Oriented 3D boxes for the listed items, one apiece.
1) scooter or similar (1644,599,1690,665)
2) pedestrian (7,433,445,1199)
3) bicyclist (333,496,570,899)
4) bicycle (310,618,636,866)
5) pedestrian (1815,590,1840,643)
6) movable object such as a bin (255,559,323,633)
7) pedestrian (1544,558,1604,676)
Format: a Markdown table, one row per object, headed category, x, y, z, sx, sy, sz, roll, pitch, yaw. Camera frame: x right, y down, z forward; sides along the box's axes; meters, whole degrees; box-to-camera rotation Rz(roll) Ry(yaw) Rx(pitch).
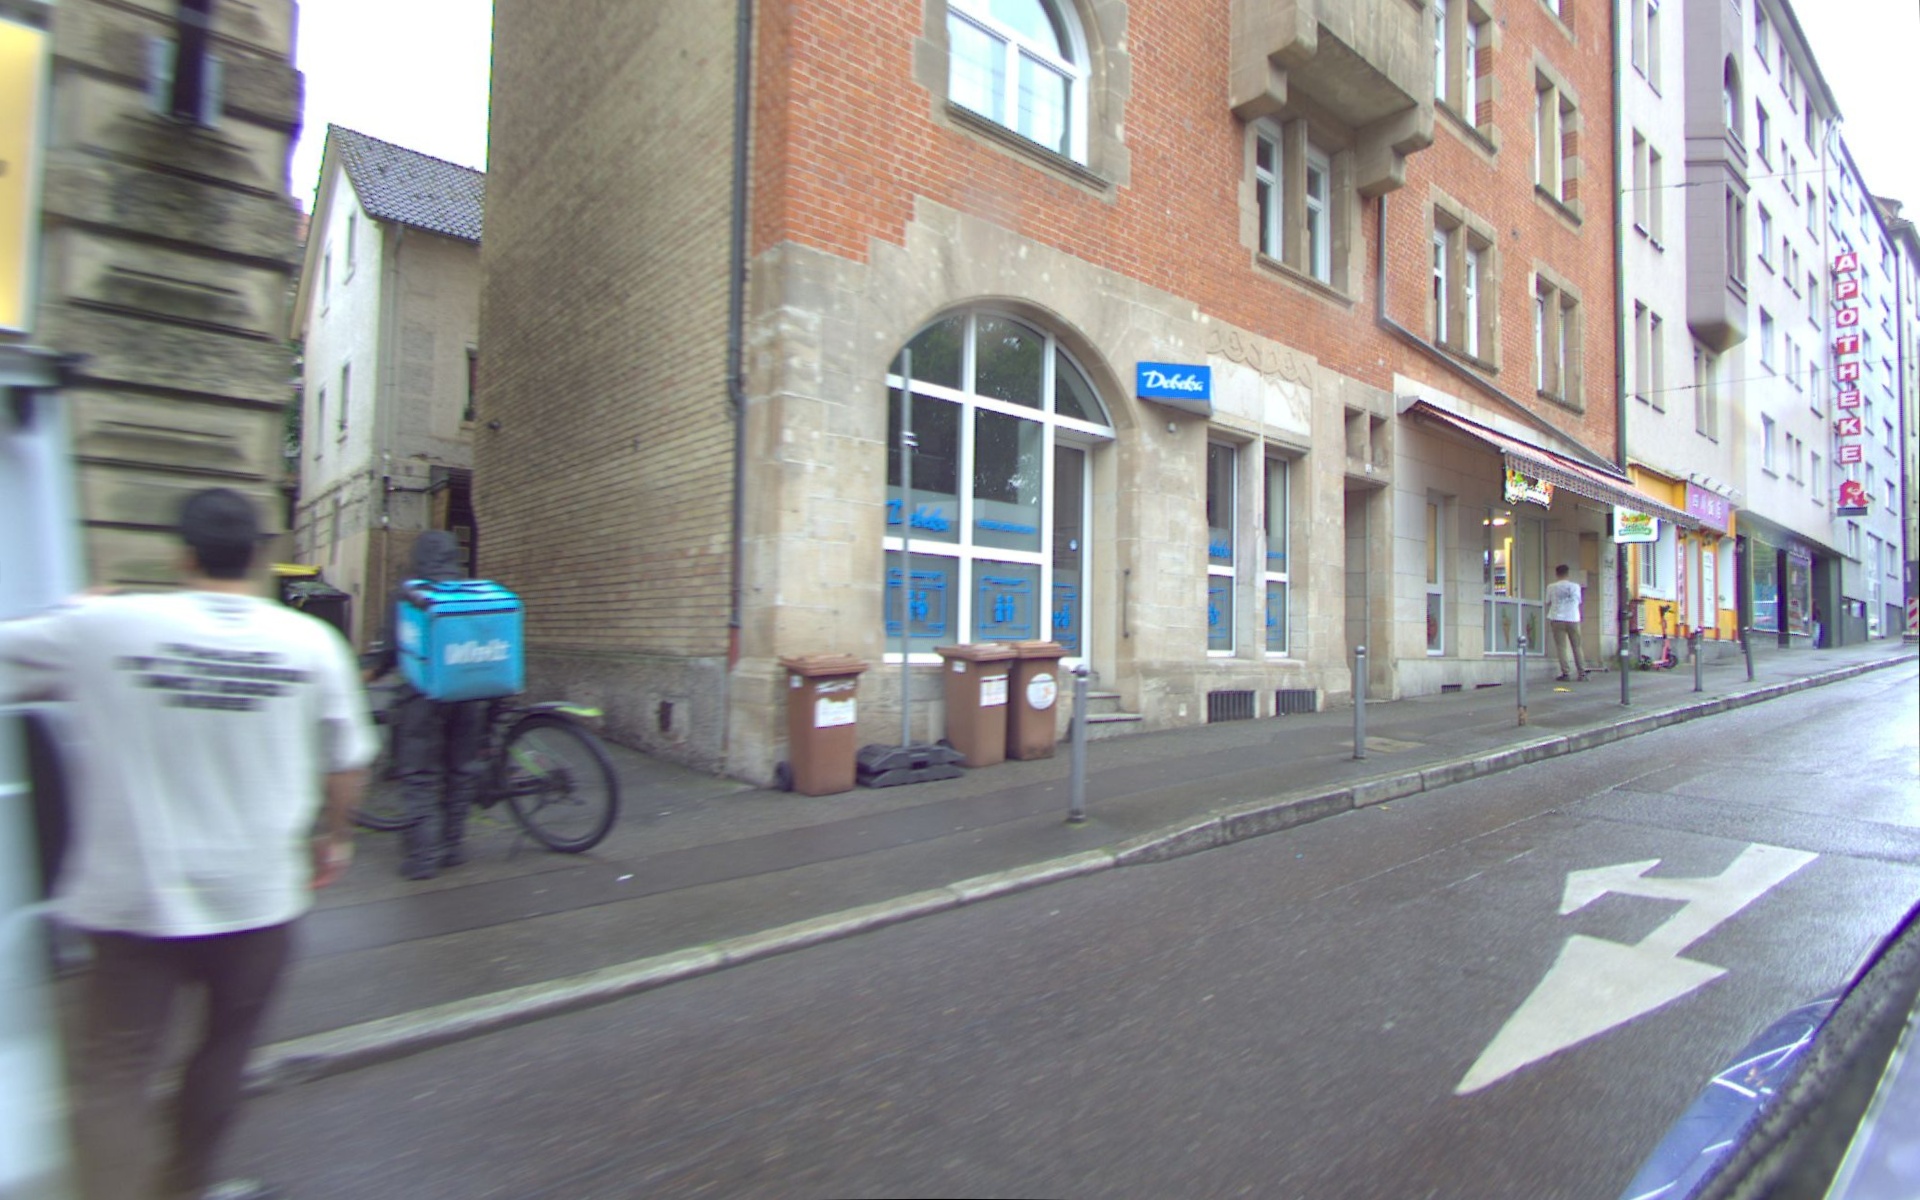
| category | x | y | z | sx | sy | sz | roll | pitch | yaw |
| --- | --- | --- | --- | --- | --- | --- | --- | --- | --- |
| scooter or similar | 13.601 | 0.613 | 19.462 | 1.171 | 1.238 | 0.258 | 1 | -2 | -31 |
| pedestrian | -1.734 | 0.578 | 2.384 | 0.833 | 1.776 | 0.676 | 0 | 0 | 42 |
| bicyclist | -2.349 | 0.398 | 4.691 | 0.842 | 1.678 | 0.625 | 0 | 0 | 29 |
| bicycle | -2.520 | 0.673 | 5.223 | 1.666 | 1.129 | 0.462 | 0 | 0 | 18 |
| pedestrian | 27.736 | 0.526 | 32.348 | 0.477 | 1.666 | 0.328 | -2 | -2 | 25 |
| movable object such as a bin | -13.313 | -0.068 | 20.087 | 1.089 | 1.388 | 1.492 | 0 | -1 | -34 |
| pedestrian | 9.900 | 0.257 | 16.325 | 0.569 | 1.853 | 0.563 | 1 | 2 | 4 |
